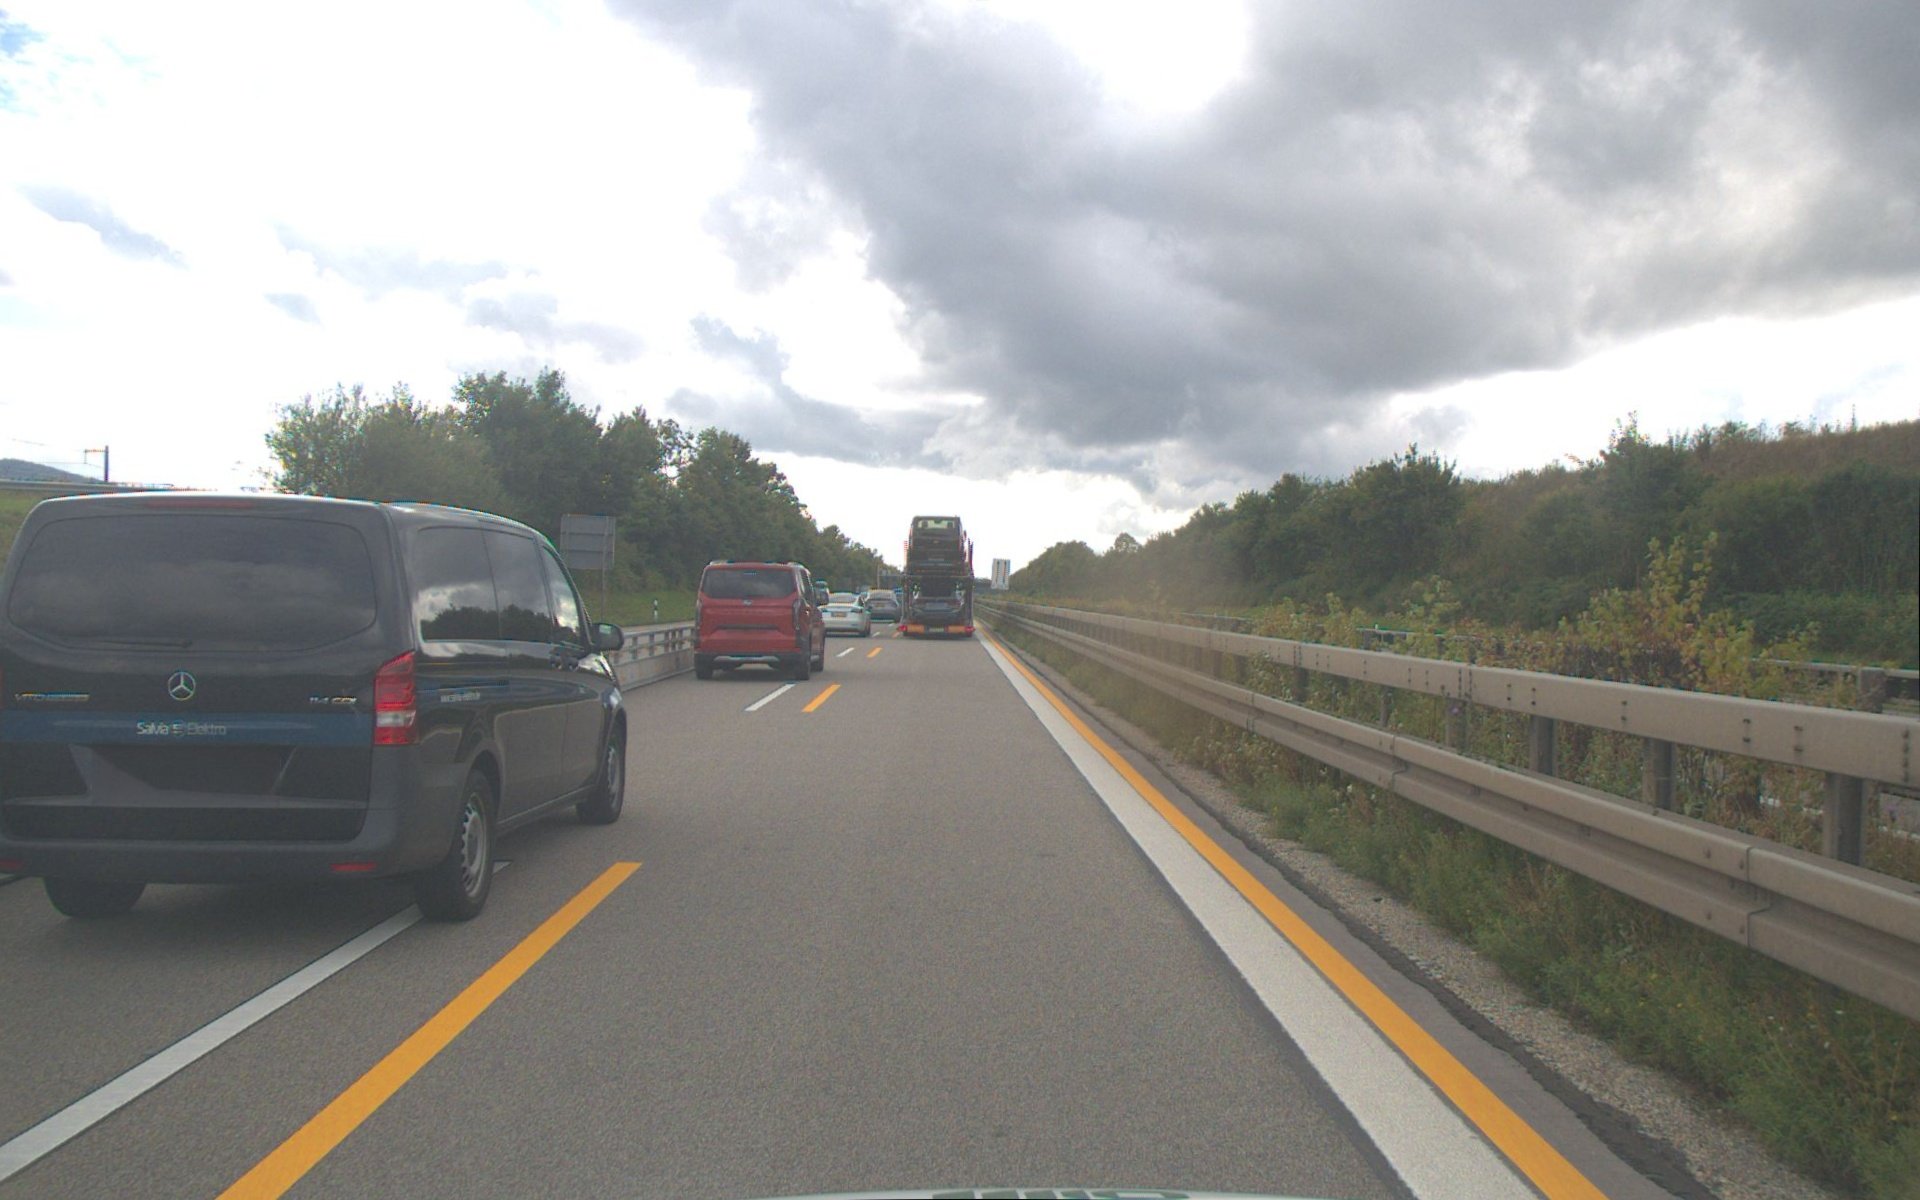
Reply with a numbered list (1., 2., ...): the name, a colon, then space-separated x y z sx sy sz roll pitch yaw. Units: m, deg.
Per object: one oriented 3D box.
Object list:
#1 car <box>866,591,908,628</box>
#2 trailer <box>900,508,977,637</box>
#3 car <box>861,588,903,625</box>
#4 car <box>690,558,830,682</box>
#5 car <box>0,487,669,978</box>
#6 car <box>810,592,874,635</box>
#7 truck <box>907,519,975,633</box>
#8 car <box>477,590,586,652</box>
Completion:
1. car: -3.613 0.460 82.572 1.990 1.788 4.576 0 0 -2
2. trailer: -0.691 -0.887 59.332 2.464 4.177 11.112 1 0 0
3. car: -3.864 0.314 82.781 1.990 1.788 4.576 0 0 -1
4. car: -3.485 0.332 29.635 1.990 2.049 4.577 0 0 -1
5. car: -3.053 0.502 9.139 1.953 1.875 5.608 0 0 -1
6. car: -4.061 0.447 57.478 1.990 1.456 4.576 0 0 -1
7. truck: -0.693 -0.885 64.097 2.464 4.177 5.685 1 0 0
8. car: -10.236 0.467 39.793 1.722 1.412 3.998 1 0 -3
